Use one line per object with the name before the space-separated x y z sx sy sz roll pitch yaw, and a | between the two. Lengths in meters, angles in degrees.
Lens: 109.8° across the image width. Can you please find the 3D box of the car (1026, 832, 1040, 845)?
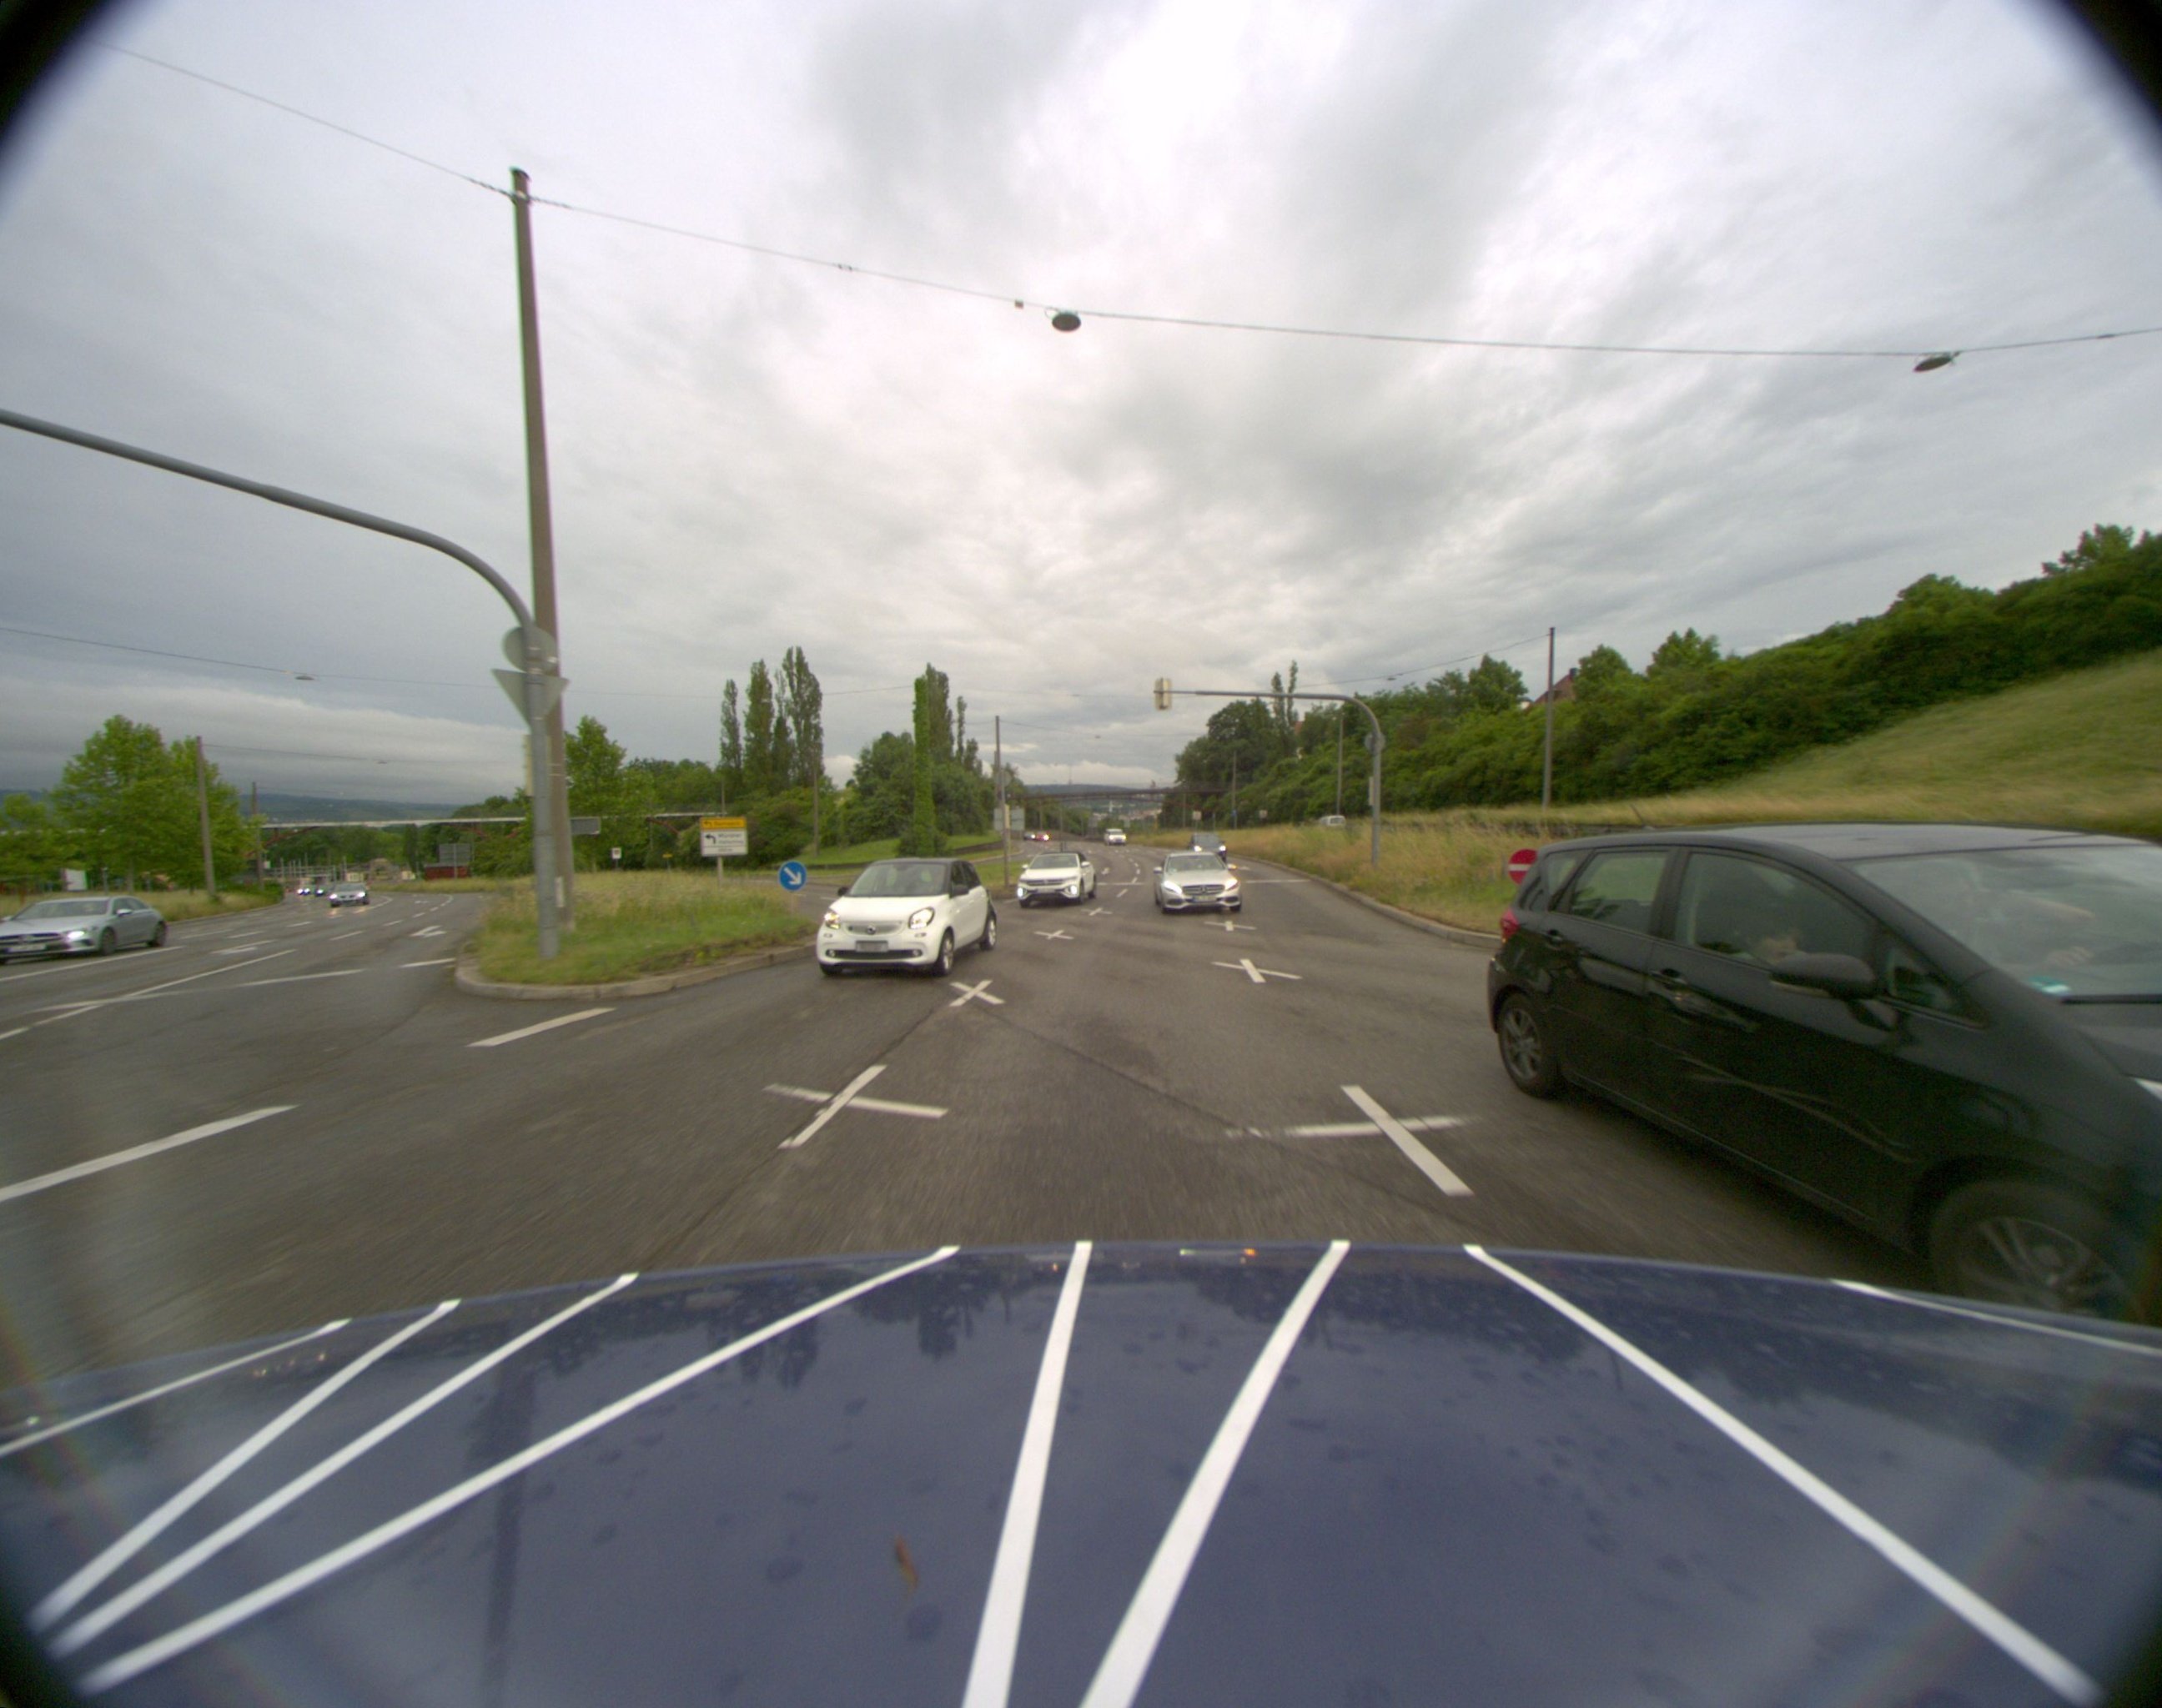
car | -7.670 -2.425 121.503 1.999 2.002 3.997 -3 1 -6

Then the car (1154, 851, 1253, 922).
car | 2.916 0.717 19.013 1.998 1.400 4.524 -1 2 4

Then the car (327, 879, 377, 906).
car | -46.990 2.445 49.047 1.875 1.477 3.989 -2 1 -38

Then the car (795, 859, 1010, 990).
car | -2.376 0.878 11.333 1.725 1.513 4.229 -1 0 7

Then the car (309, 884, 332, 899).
car | -116.595 5.766 116.512 2.004 2.002 3.989 -3 1 -39

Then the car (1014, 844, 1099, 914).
car | -0.618 0.661 22.533 1.842 1.533 3.816 -2 5 8

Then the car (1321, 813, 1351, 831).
car | 21.802 -2.716 65.057 1.560 1.424 3.229 -3 2 3

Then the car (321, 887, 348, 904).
car | -95.441 5.310 97.198 2.004 2.002 3.989 -3 1 -39

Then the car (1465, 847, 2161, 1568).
car | 3.367 0.792 2.939 1.800 1.556 4.043 -2 1 2

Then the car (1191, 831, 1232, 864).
car | 7.368 -0.403 43.236 1.926 1.725 4.026 -2 1 5

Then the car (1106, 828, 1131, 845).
car | 4.117 -1.915 84.087 2.000 1.682 4.285 -3 1 -8

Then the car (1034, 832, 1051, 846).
car | -5.507 -2.134 108.862 2.000 2.002 3.997 -3 1 -7

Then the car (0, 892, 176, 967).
car | -23.952 1.726 18.189 1.751 1.419 3.990 -2 1 -32
